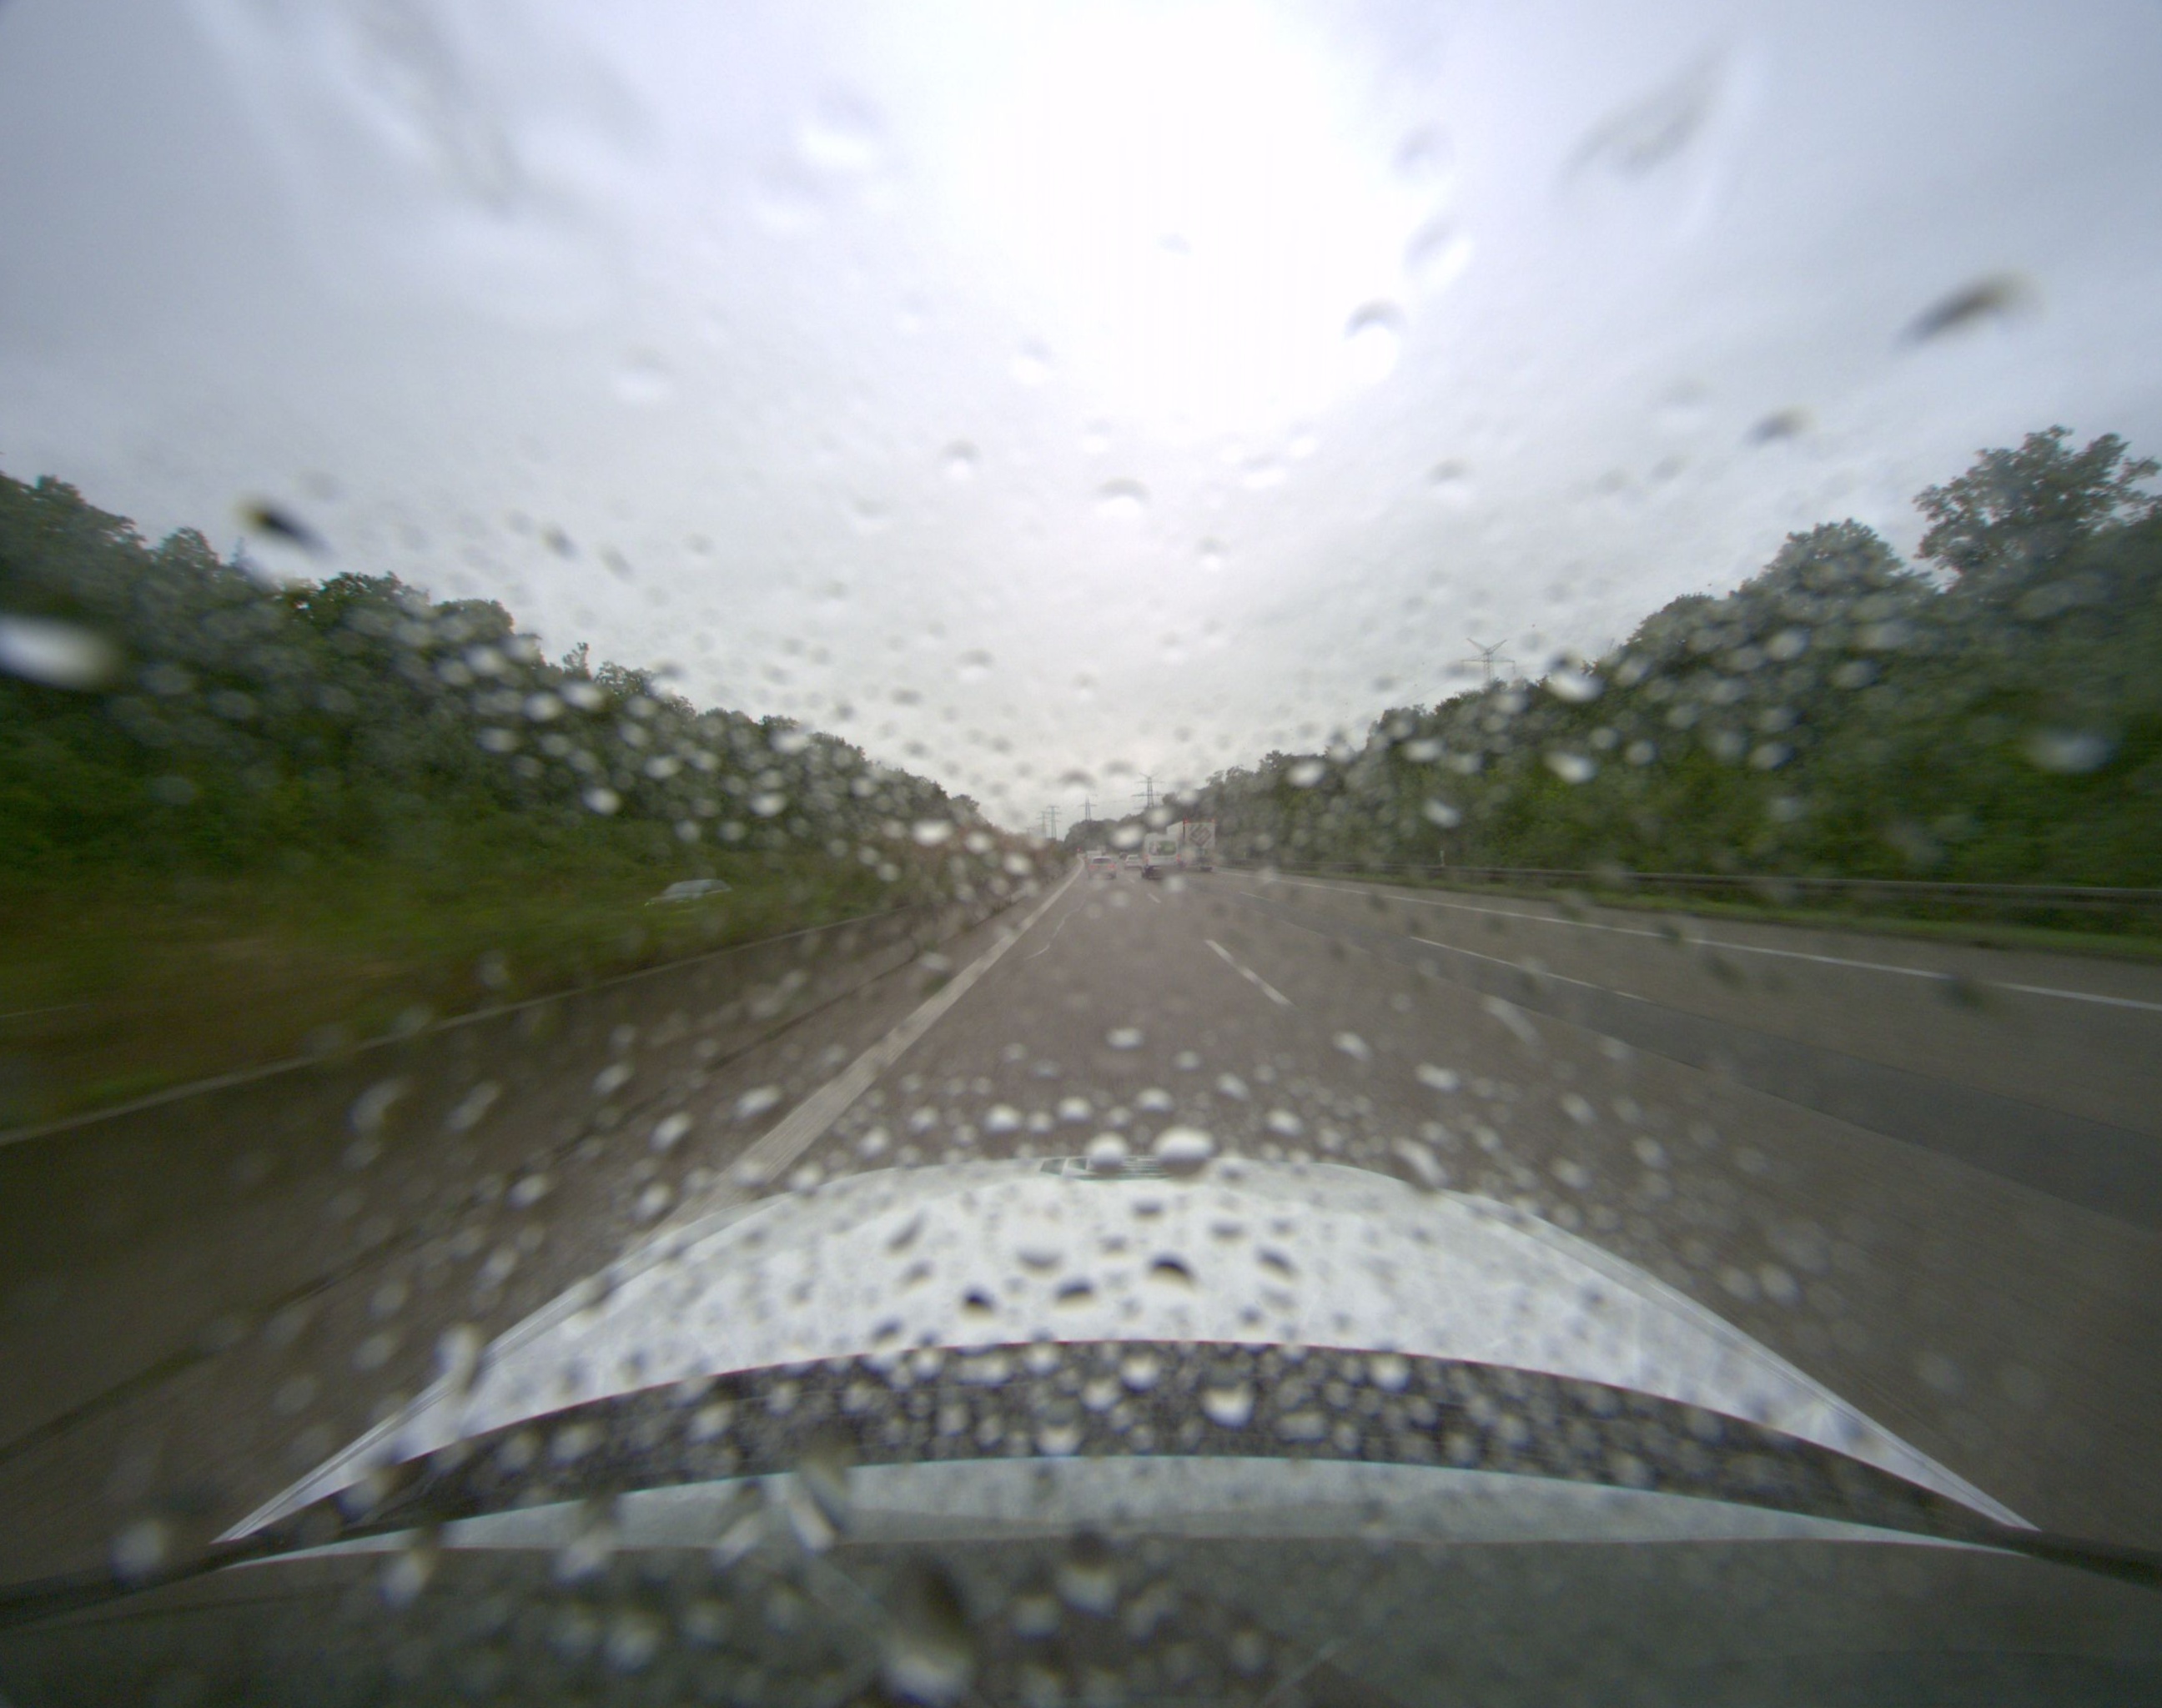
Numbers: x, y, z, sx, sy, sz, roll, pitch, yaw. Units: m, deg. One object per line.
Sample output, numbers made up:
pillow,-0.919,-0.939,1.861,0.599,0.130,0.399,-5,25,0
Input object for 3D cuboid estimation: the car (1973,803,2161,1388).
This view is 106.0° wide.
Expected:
car,3.794,0.625,0.146,1.854,1.568,4.964,-1,0,0

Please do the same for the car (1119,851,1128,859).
car,9.173,0.274,175.557,1.985,1.486,4.003,-4,-1,3

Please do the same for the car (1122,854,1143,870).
car,4.831,0.706,76.394,1.848,1.422,4.005,-2,0,4

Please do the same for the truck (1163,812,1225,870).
truck,9.385,-0.978,69.285,3.590,4.332,13.202,-2,-1,1

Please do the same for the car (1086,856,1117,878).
car,1.353,0.801,52.271,1.859,1.288,4.003,-3,0,3

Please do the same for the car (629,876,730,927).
car,-15.237,1.748,31.123,1.635,1.632,4.003,-3,0,3

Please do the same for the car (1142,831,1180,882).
car,4.798,0.135,49.440,1.986,2.864,4.002,-2,0,2

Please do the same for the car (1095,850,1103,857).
car,4.886,-0.141,219.999,1.985,1.574,4.003,-3,-1,3

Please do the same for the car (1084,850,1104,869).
car,1.333,0.562,83.635,1.838,1.772,4.004,-3,0,3
